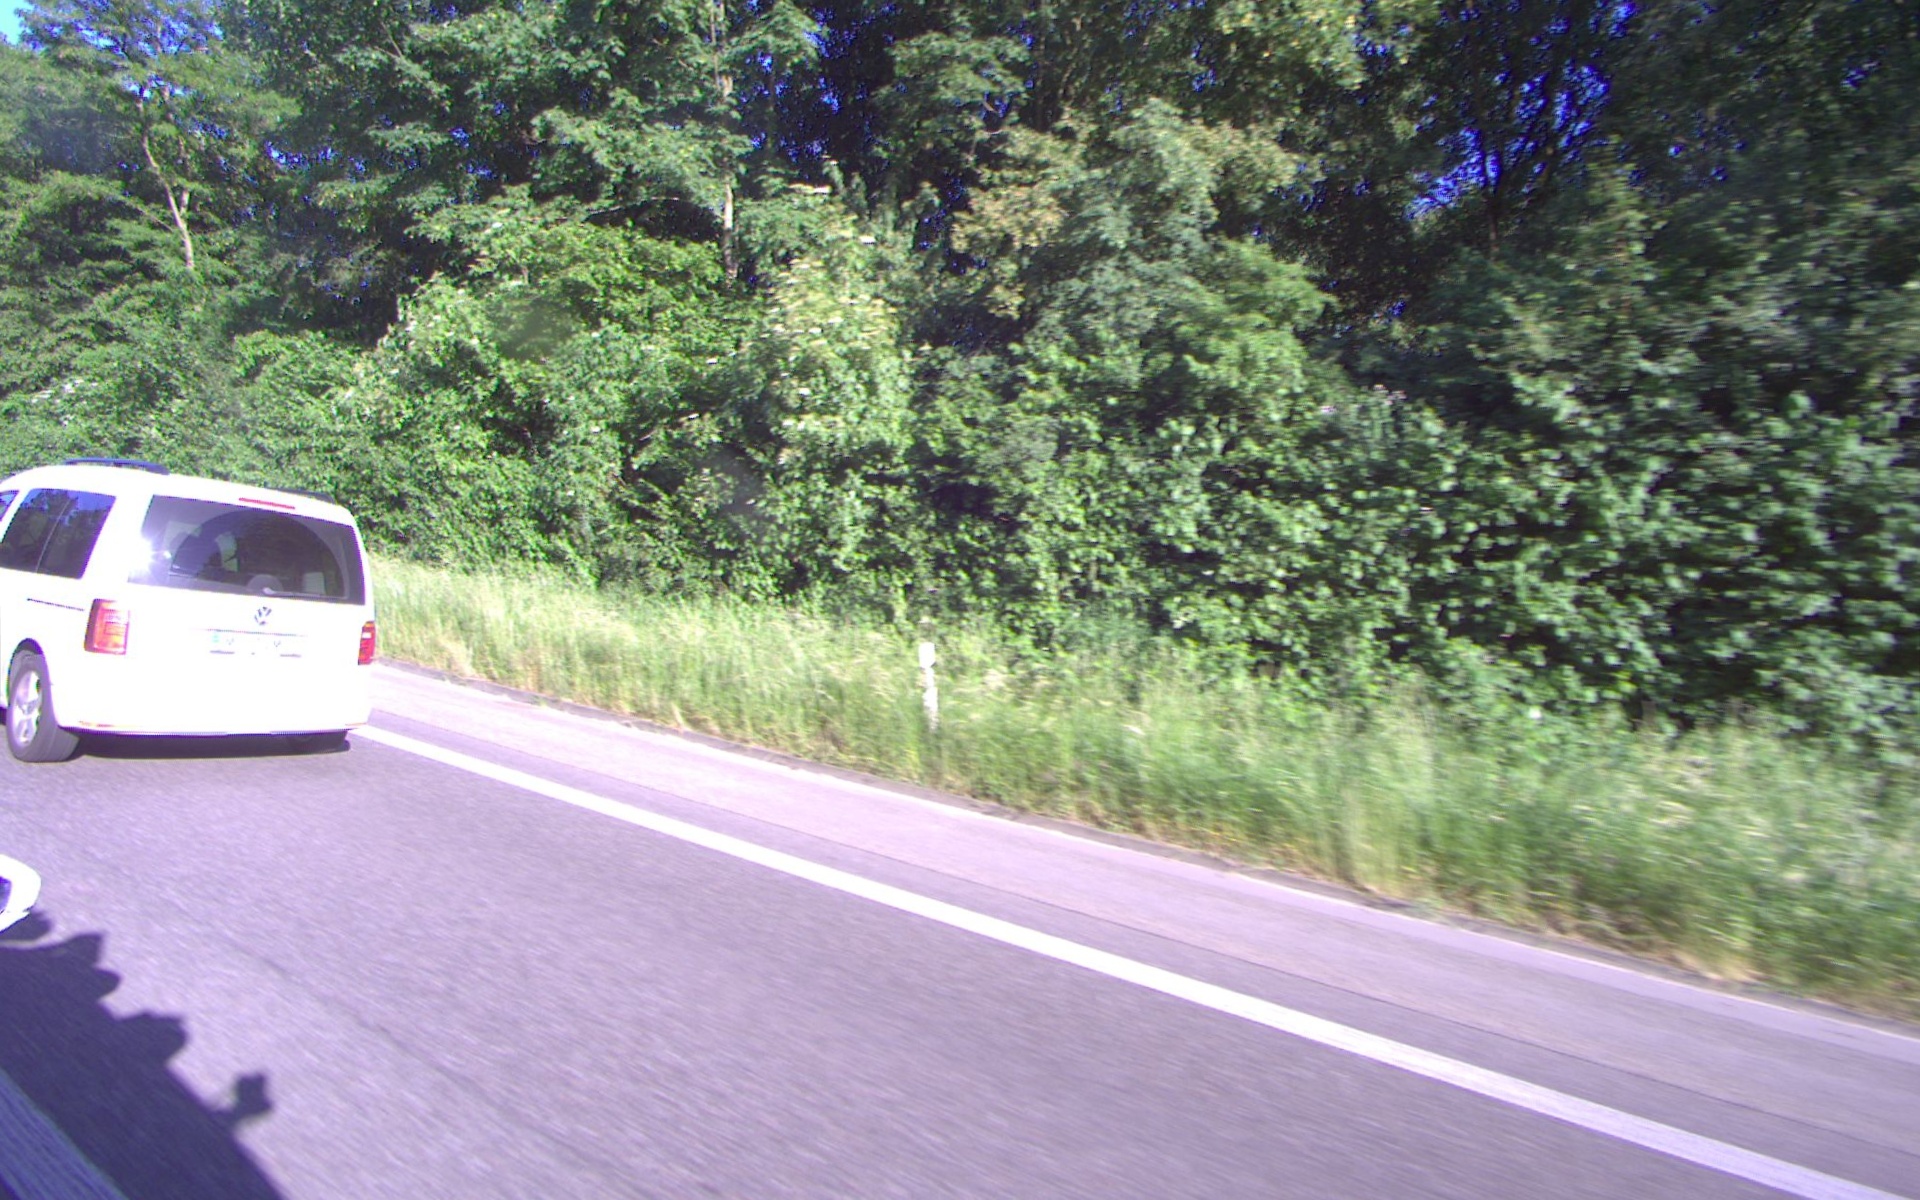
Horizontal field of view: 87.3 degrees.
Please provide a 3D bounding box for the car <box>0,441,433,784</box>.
[{"bbox_3d":[-6.124,-0.039,7.337,4.511,1.833,1.803,6,-2,31],"label":"car"}]
